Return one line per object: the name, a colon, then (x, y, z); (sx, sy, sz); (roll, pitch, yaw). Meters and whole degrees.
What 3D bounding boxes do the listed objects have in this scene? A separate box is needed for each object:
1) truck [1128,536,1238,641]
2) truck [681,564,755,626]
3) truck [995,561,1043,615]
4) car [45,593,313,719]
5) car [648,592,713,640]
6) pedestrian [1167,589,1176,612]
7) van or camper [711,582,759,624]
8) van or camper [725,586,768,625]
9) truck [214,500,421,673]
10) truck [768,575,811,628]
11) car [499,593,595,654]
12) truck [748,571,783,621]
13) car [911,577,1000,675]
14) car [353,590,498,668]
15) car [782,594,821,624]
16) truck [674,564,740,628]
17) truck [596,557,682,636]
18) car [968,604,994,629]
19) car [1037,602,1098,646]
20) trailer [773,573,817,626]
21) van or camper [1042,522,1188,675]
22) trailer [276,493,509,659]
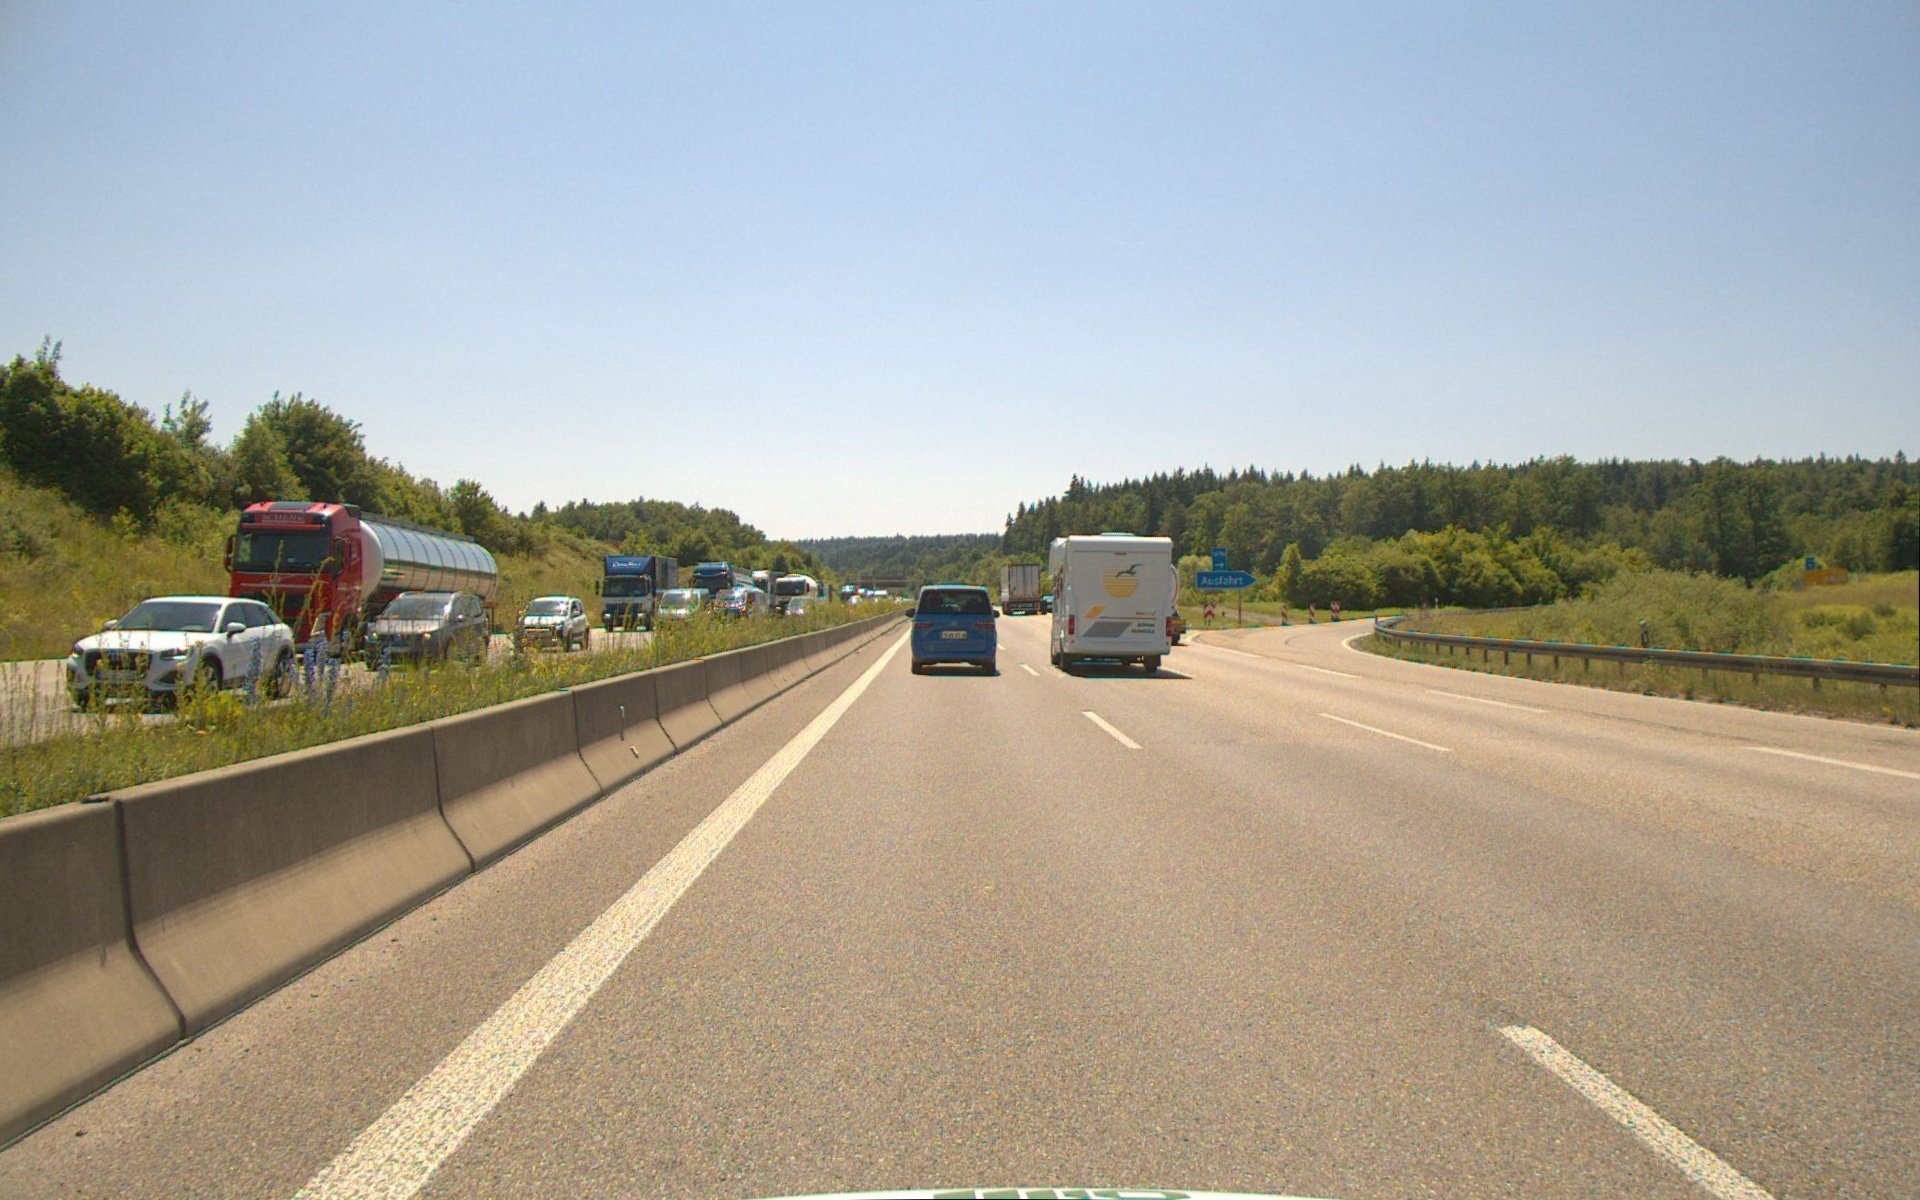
truck: (8.223, -0.458, 62.053); (2.868, 3.637, 8.525); (-1, 1, 0)
truck: (-17.066, -0.336, 117.521); (3.505, 4.165, 12.577); (0, 0, -1)
truck: (4.799, -0.914, 136.069); (3.416, 4.243, 8.639); (1, -1, -1)
car: (-11.108, 0.759, 23.896); (1.844, 1.656, 4.357); (0, -1, -1)
car: (-11.956, 0.672, 71.115); (1.982, 1.992, 5.093); (0, -1, -1)
pedestrian: (19.688, 0.072, 154.149); (0.674, 2.116, 0.928); (1, -1, 0)
van or camper: (-12.507, 0.191, 92.172); (1.953, 2.191, 5.953); (-1, -1, -1)
van or camper: (-12.583, 0.334, 97.729); (1.953, 2.191, 4.716); (-1, -1, -1)
truck: (-15.706, -0.278, 40.920); (2.726, 3.890, 6.030); (1, -1, -1)
truck: (-13.149, 0.156, 127.852); (2.565, 3.958, 7.400); (-1, -1, -1)
car: (-12.225, 0.695, 49.167); (1.719, 1.576, 4.188); (5, -1, -1)
truck: (-16.667, -0.285, 142.058); (2.045, 4.099, 7.876); (1, -1, 0)
car: (-0.123, 0.524, 37.031); (1.870, 2.049, 4.000); (0, 1, -1)
car: (-11.728, 0.618, 36.617); (1.718, 1.611, 4.784); (0, -1, -1)
car: (-8.564, 0.498, 89.666); (1.718, 1.611, 4.853); (0, -1, -1)
truck: (-16.909, -0.246, 111.063); (3.419, 4.107, 6.642); (1, -1, -1)
truck: (-16.171, -0.113, 83.938); (2.493, 3.739, 9.935); (0, -1, -1)
car: (1.524, 1.221, 122.406); (1.781, 1.825, 3.893); (1, -1, -1)
car: (3.791, 0.843, 59.117); (1.870, 1.501, 3.999); (0, 0, -1)
trailer: (-13.290, -0.070, 134.000); (2.625, 4.018, 11.642); (-3, 0, -2)
van or camper: (3.429, 0.007, 38.208); (2.550, 3.133, 7.180); (1, -1, -1)
trailer: (-15.853, -0.593, 47.485); (2.625, 4.018, 12.271); (-3, 0, -2)
